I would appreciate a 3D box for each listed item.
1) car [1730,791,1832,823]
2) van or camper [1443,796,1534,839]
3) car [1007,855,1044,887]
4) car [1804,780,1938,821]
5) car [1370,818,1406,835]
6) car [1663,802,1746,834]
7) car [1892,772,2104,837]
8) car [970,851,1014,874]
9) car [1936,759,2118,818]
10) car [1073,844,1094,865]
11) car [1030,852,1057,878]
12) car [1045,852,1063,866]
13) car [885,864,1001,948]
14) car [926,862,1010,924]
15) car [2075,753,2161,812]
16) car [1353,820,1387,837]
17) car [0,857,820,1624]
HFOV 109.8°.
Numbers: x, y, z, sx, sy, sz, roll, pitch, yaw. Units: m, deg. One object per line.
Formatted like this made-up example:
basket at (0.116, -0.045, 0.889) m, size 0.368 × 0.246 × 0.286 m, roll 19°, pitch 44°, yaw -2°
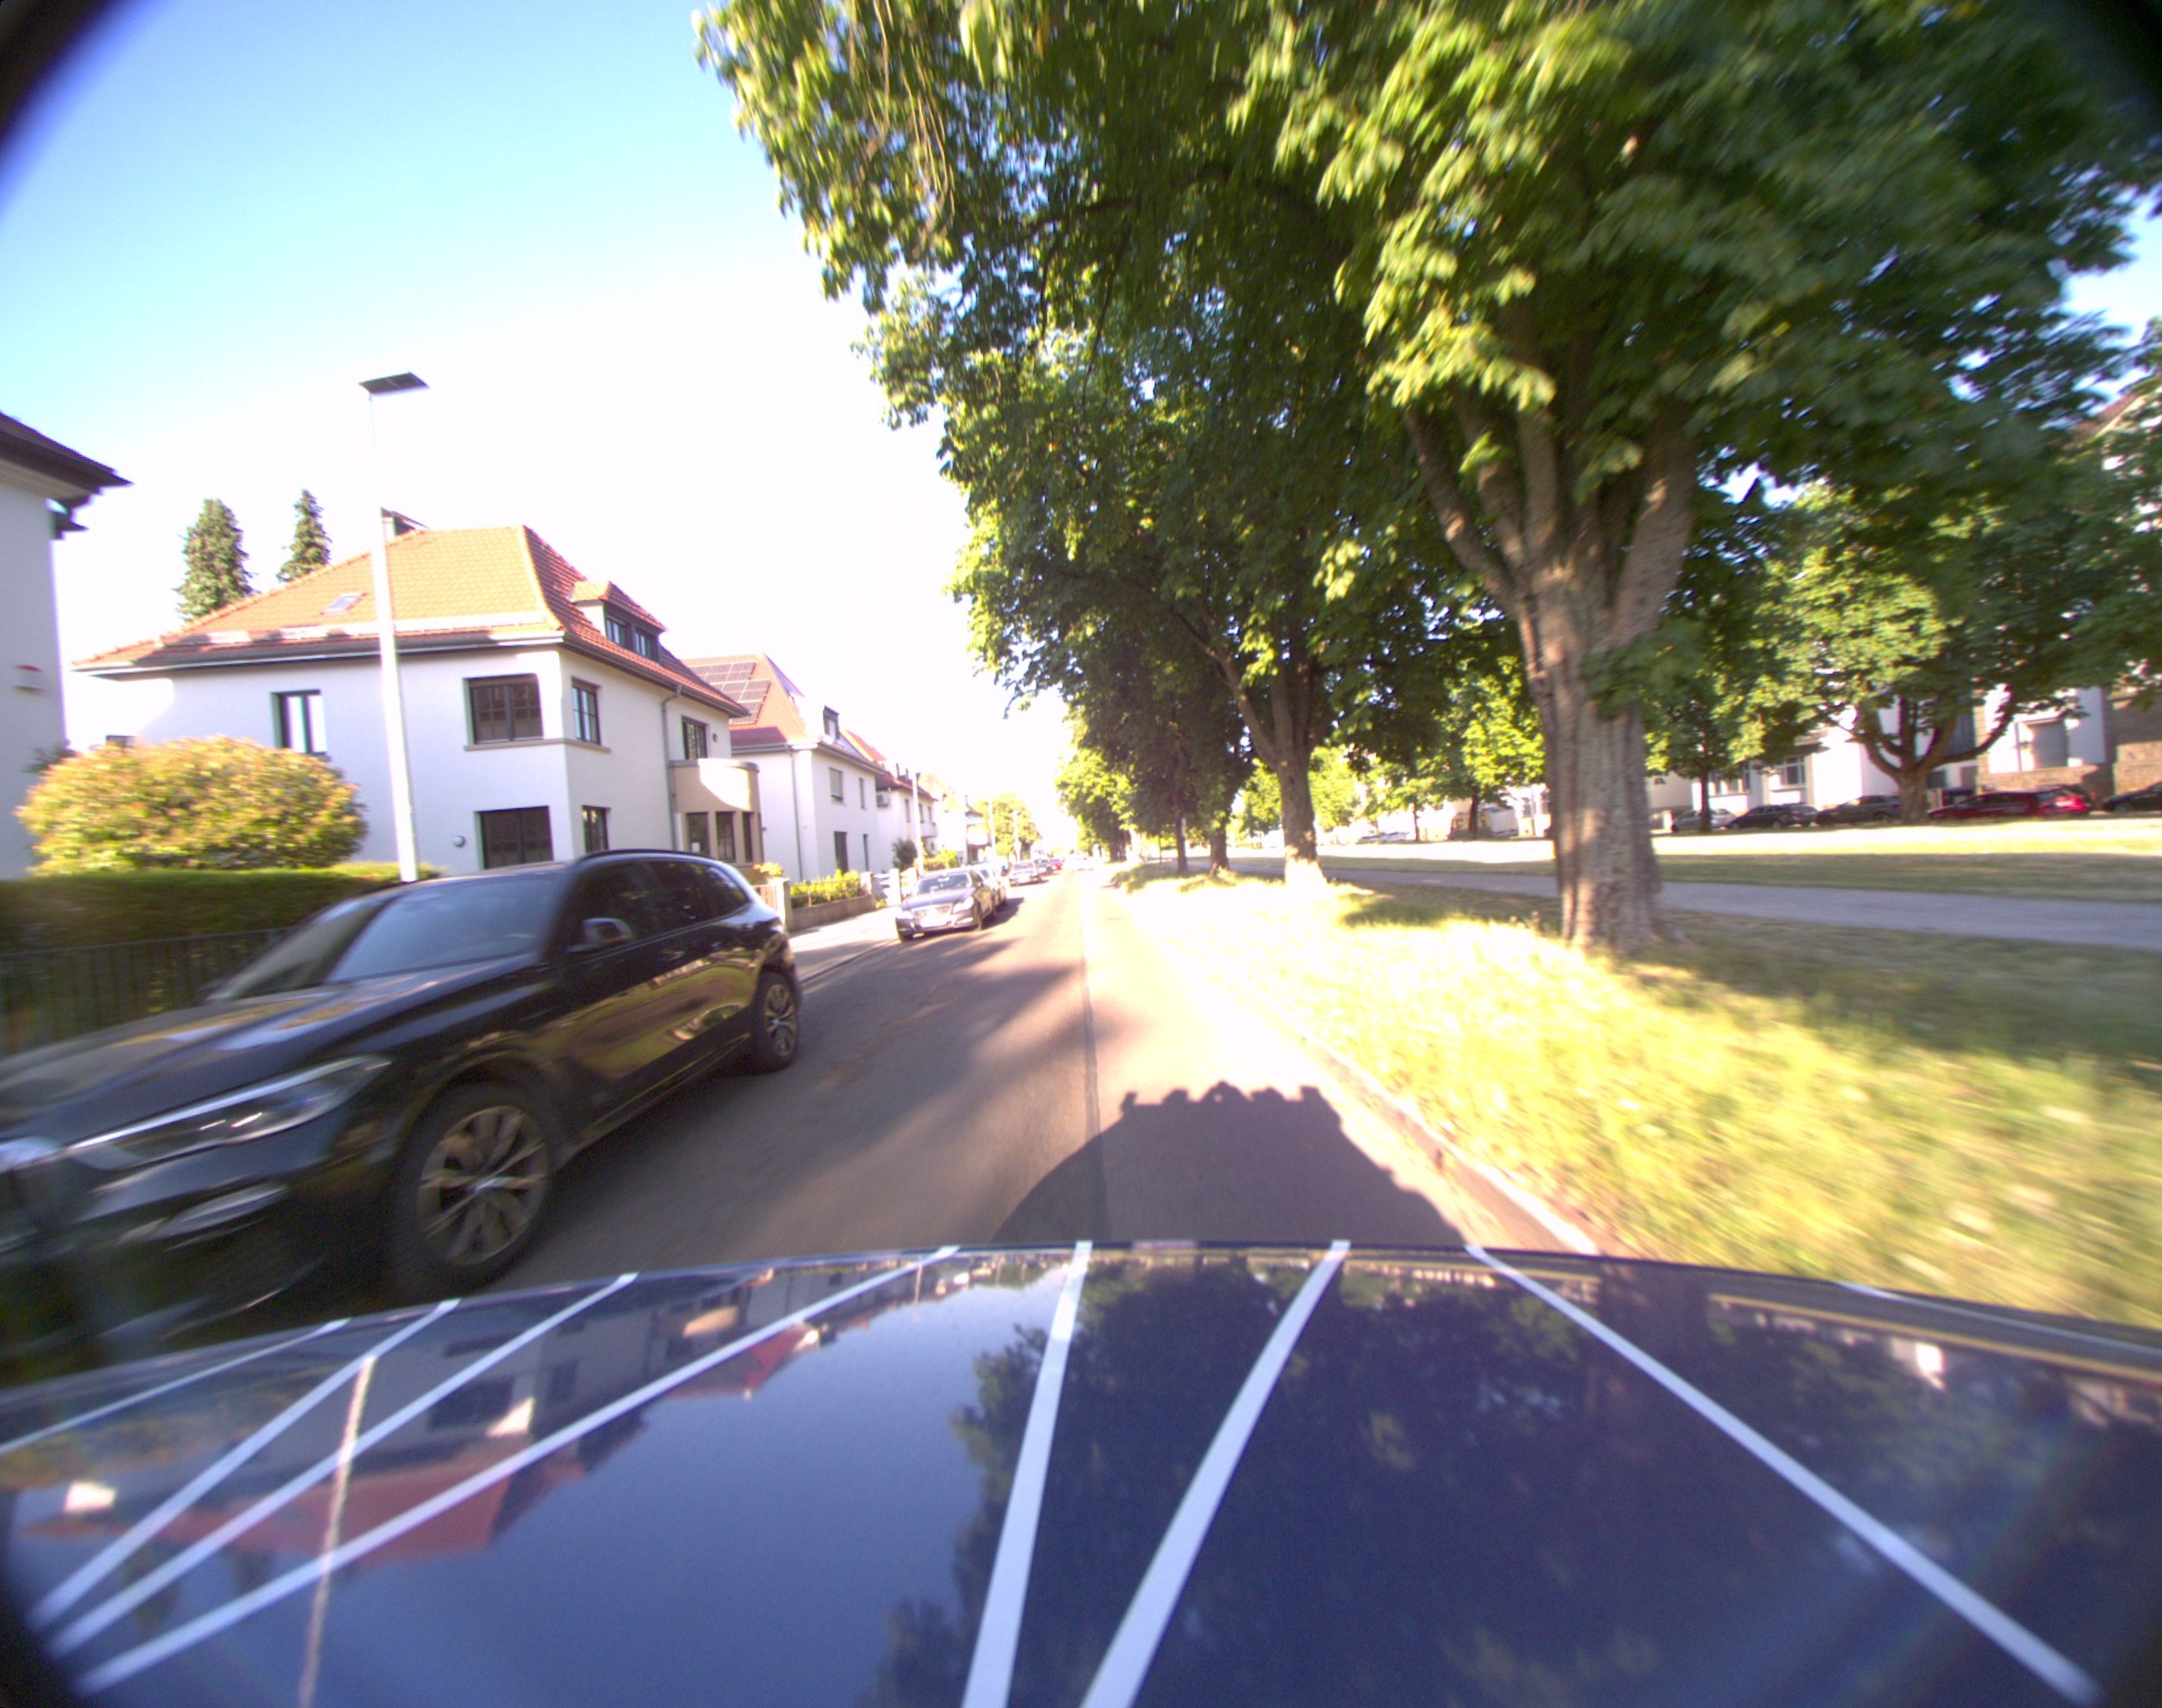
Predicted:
car at (39.969, -2.644, 43.549) m, size 1.998 × 1.421 × 4.169 m, roll -5°, pitch 1°, yaw 2°
van or camper at (34.101, -2.994, 64.032) m, size 3.262 × 3.093 × 7.896 m, roll -4°, pitch 1°, yaw 1°
car at (-3.176, 0.951, 44.487) m, size 1.784 × 1.491 × 4.396 m, roll -7°, pitch 1°, yaw -1°
car at (39.558, -2.633, 38.216) m, size 1.999 × 1.643 × 4.428 m, roll -4°, pitch 1°, yaw -1°
car at (33.840, -2.998, 83.966) m, size 1.998 × 1.680 × 4.875 m, roll -4°, pitch 1°, yaw 1°
car at (39.620, -2.264, 48.443) m, size 1.998 × 1.724 × 4.000 m, roll -4°, pitch 0°, yaw 2°
car at (33.859, -1.738, 28.333) m, size 1.998 × 2.002 × 4.876 m, roll -4°, pitch 1°, yaw 2°
car at (-8.578, 0.833, 73.478) m, size 3.998 × 1.917 × 1.999 m, roll -4°, pitch 1°, yaw -3°
car at (39.603, -2.664, 32.016) m, size 1.999 × 2.002 × 4.428 m, roll -4°, pitch 1°, yaw -1°
car at (0.287, 0.051, 81.136) m, size 1.998 × 2.002 × 3.999 m, roll -5°, pitch 1°, yaw 0°
car at (-3.014, 0.855, 61.929) m, size 1.863 × 1.710 × 4.466 m, roll -9°, pitch 1°, yaw -1°
car at (-3.077, 0.535, 87.841) m, size 1.824 × 1.486 × 4.223 m, roll -4°, pitch 1°, yaw -1°
car at (-3.139, 1.109, 18.208) m, size 1.784 × 1.454 × 4.593 m, roll -7°, pitch 1°, yaw 0°
car at (-3.492, 1.145, 24.323) m, size 1.999 × 1.455 × 4.548 m, roll -8°, pitch 1°, yaw -2°
car at (39.617, -2.677, 27.071) m, size 1.998 × 2.002 × 4.876 m, roll -4°, pitch 1°, yaw 2°
car at (33.988, -2.987, 89.517) m, size 1.998 × 1.680 × 4.875 m, roll -4°, pitch 1°, yaw 1°
car at (-3.352, 1.036, 4.199) m, size 1.999 × 1.727 × 4.863 m, roll -8°, pitch 1°, yaw -1°
